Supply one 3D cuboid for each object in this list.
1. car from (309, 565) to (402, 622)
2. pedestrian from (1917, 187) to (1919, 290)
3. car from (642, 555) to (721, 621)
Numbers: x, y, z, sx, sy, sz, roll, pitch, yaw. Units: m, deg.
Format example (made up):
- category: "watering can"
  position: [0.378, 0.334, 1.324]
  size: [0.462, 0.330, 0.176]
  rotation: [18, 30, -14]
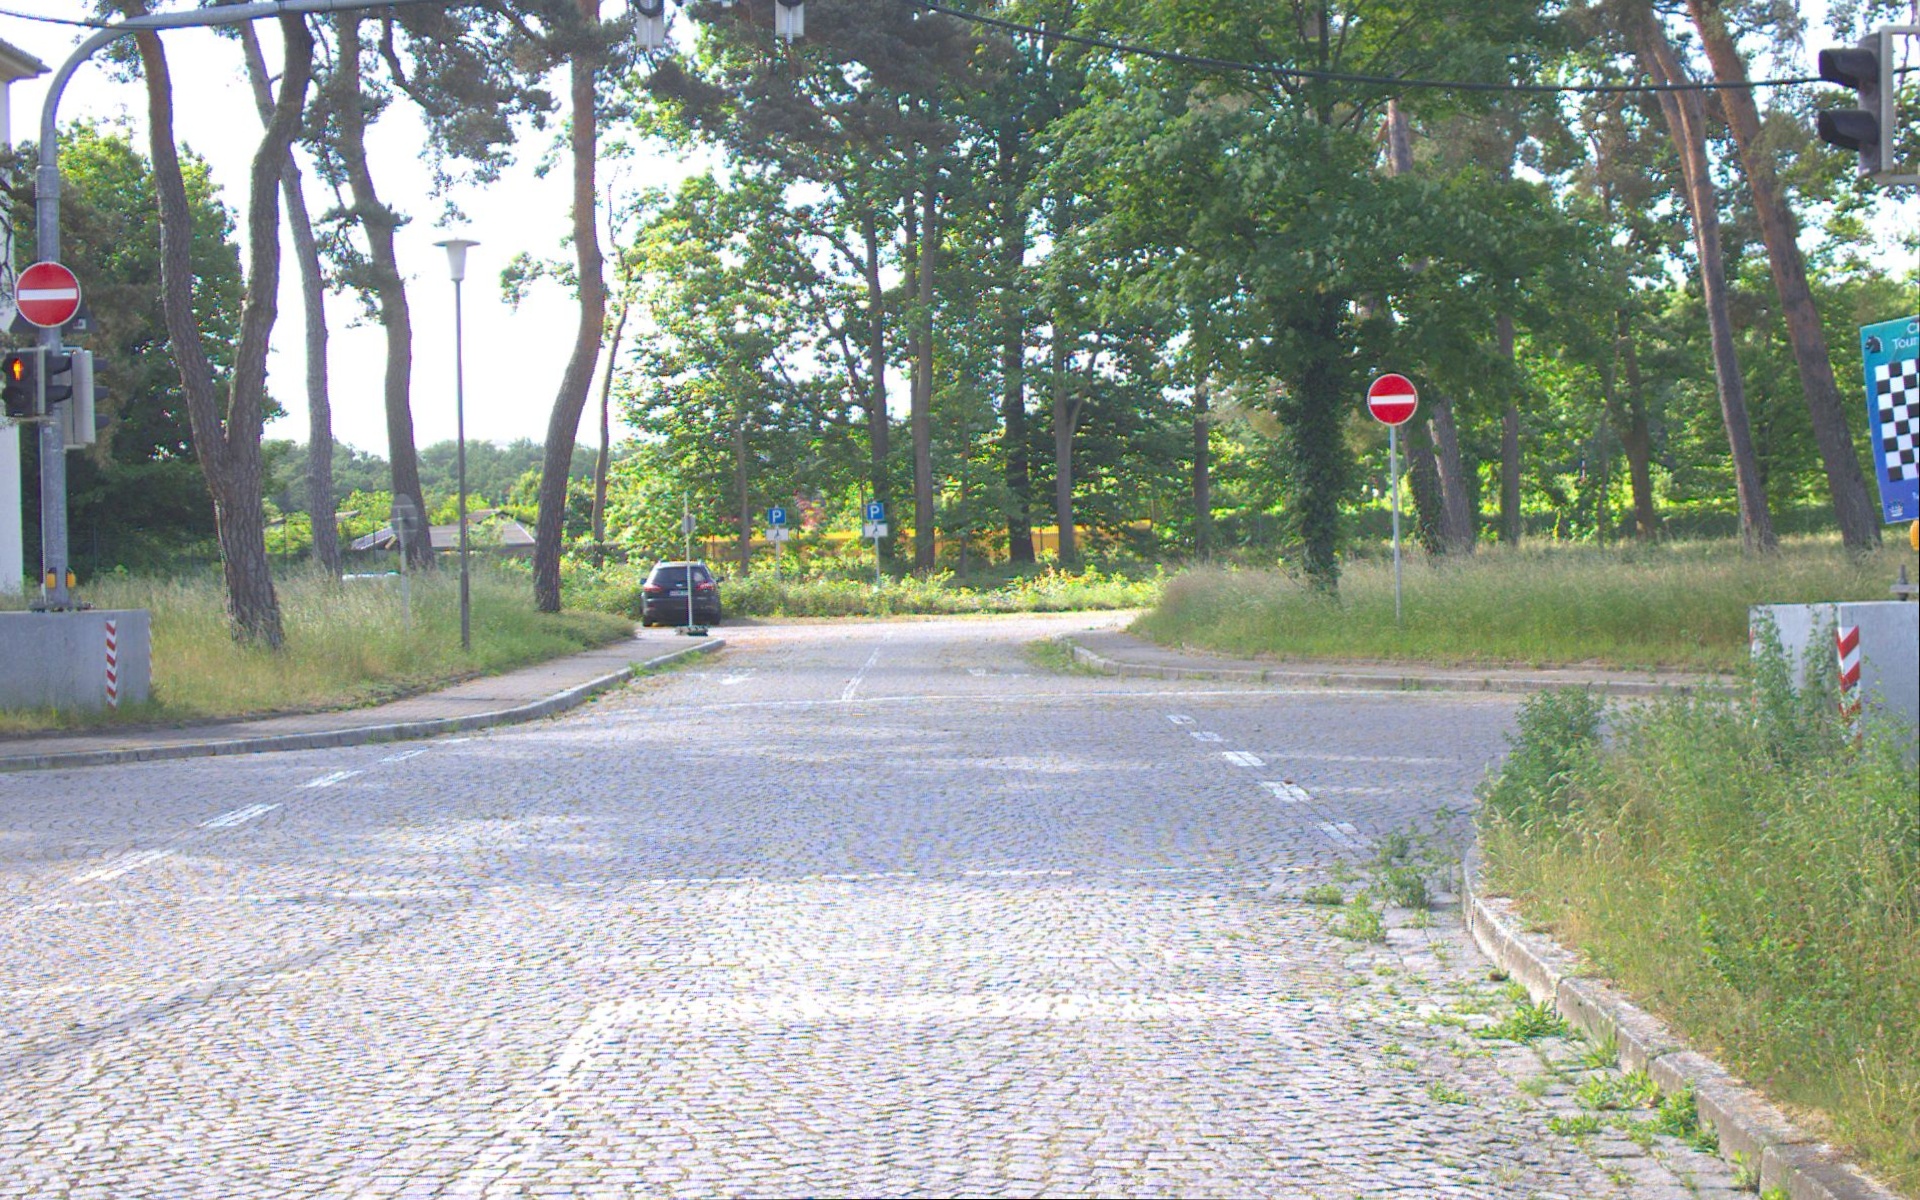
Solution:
- category: "car"
  position: [-14.588, -0.179, 83.113]
  size: [1.709, 1.269, 3.919]
  rotation: [-2, 1, -3]
- category: "pedestrian"
  position: [4.821, -0.873, 14.646]
  size: [1.170, 1.790, 1.061]
  rotation: [-2, 1, 29]
- category: "car"
  position: [-6.645, -0.301, 82.367]
  size: [1.709, 1.491, 3.919]
  rotation: [-2, 1, -3]
